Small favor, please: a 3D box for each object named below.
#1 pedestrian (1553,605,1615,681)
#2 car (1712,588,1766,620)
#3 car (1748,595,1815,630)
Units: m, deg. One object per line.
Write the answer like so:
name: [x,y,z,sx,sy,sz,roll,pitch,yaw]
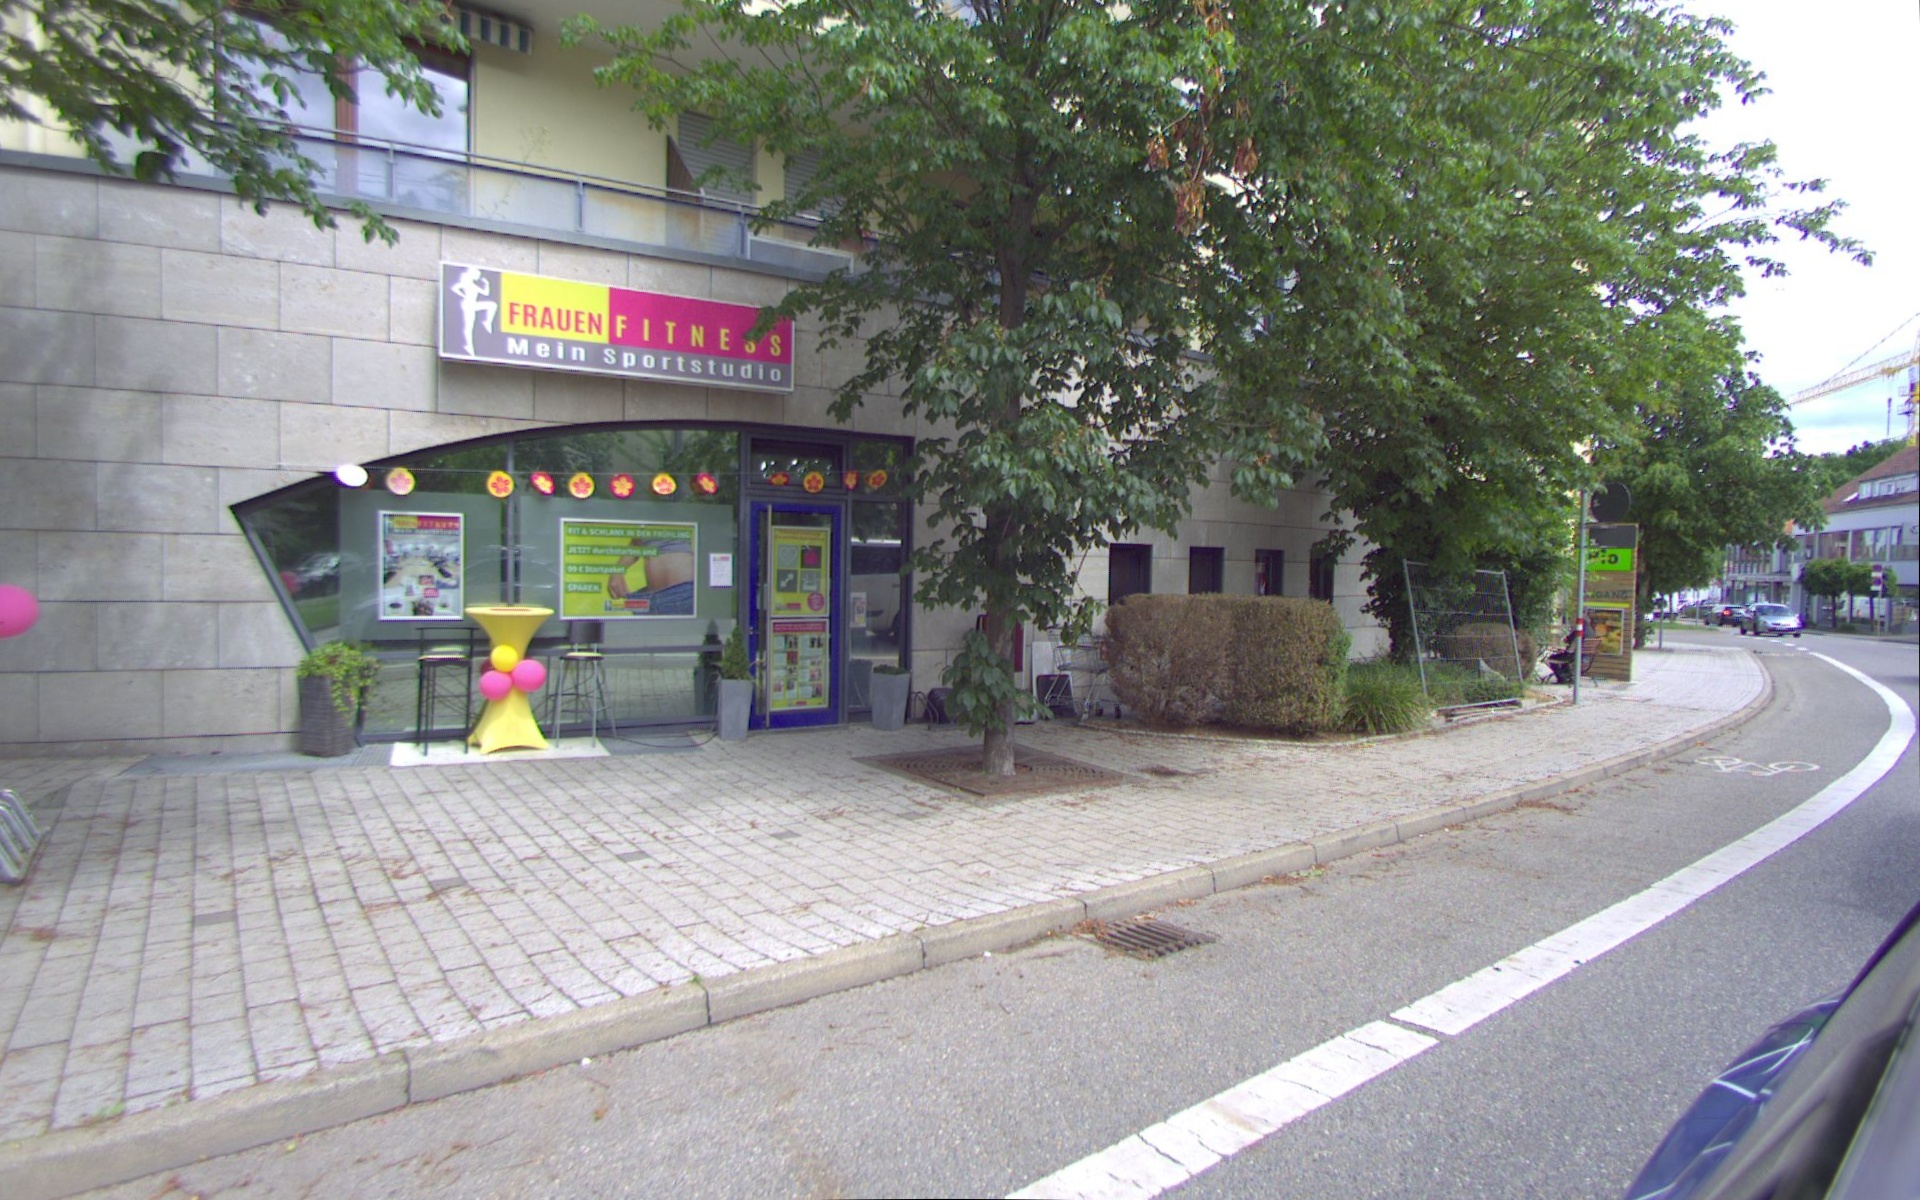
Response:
pedestrian: [11.334,0.764,18.387,0.740,1.317,0.730,1,2,-41]
car: [50.128,0.216,65.214,1.722,1.874,3.970,2,2,23]
car: [37.821,0.554,46.682,1.679,1.505,3.960,-1,0,29]
